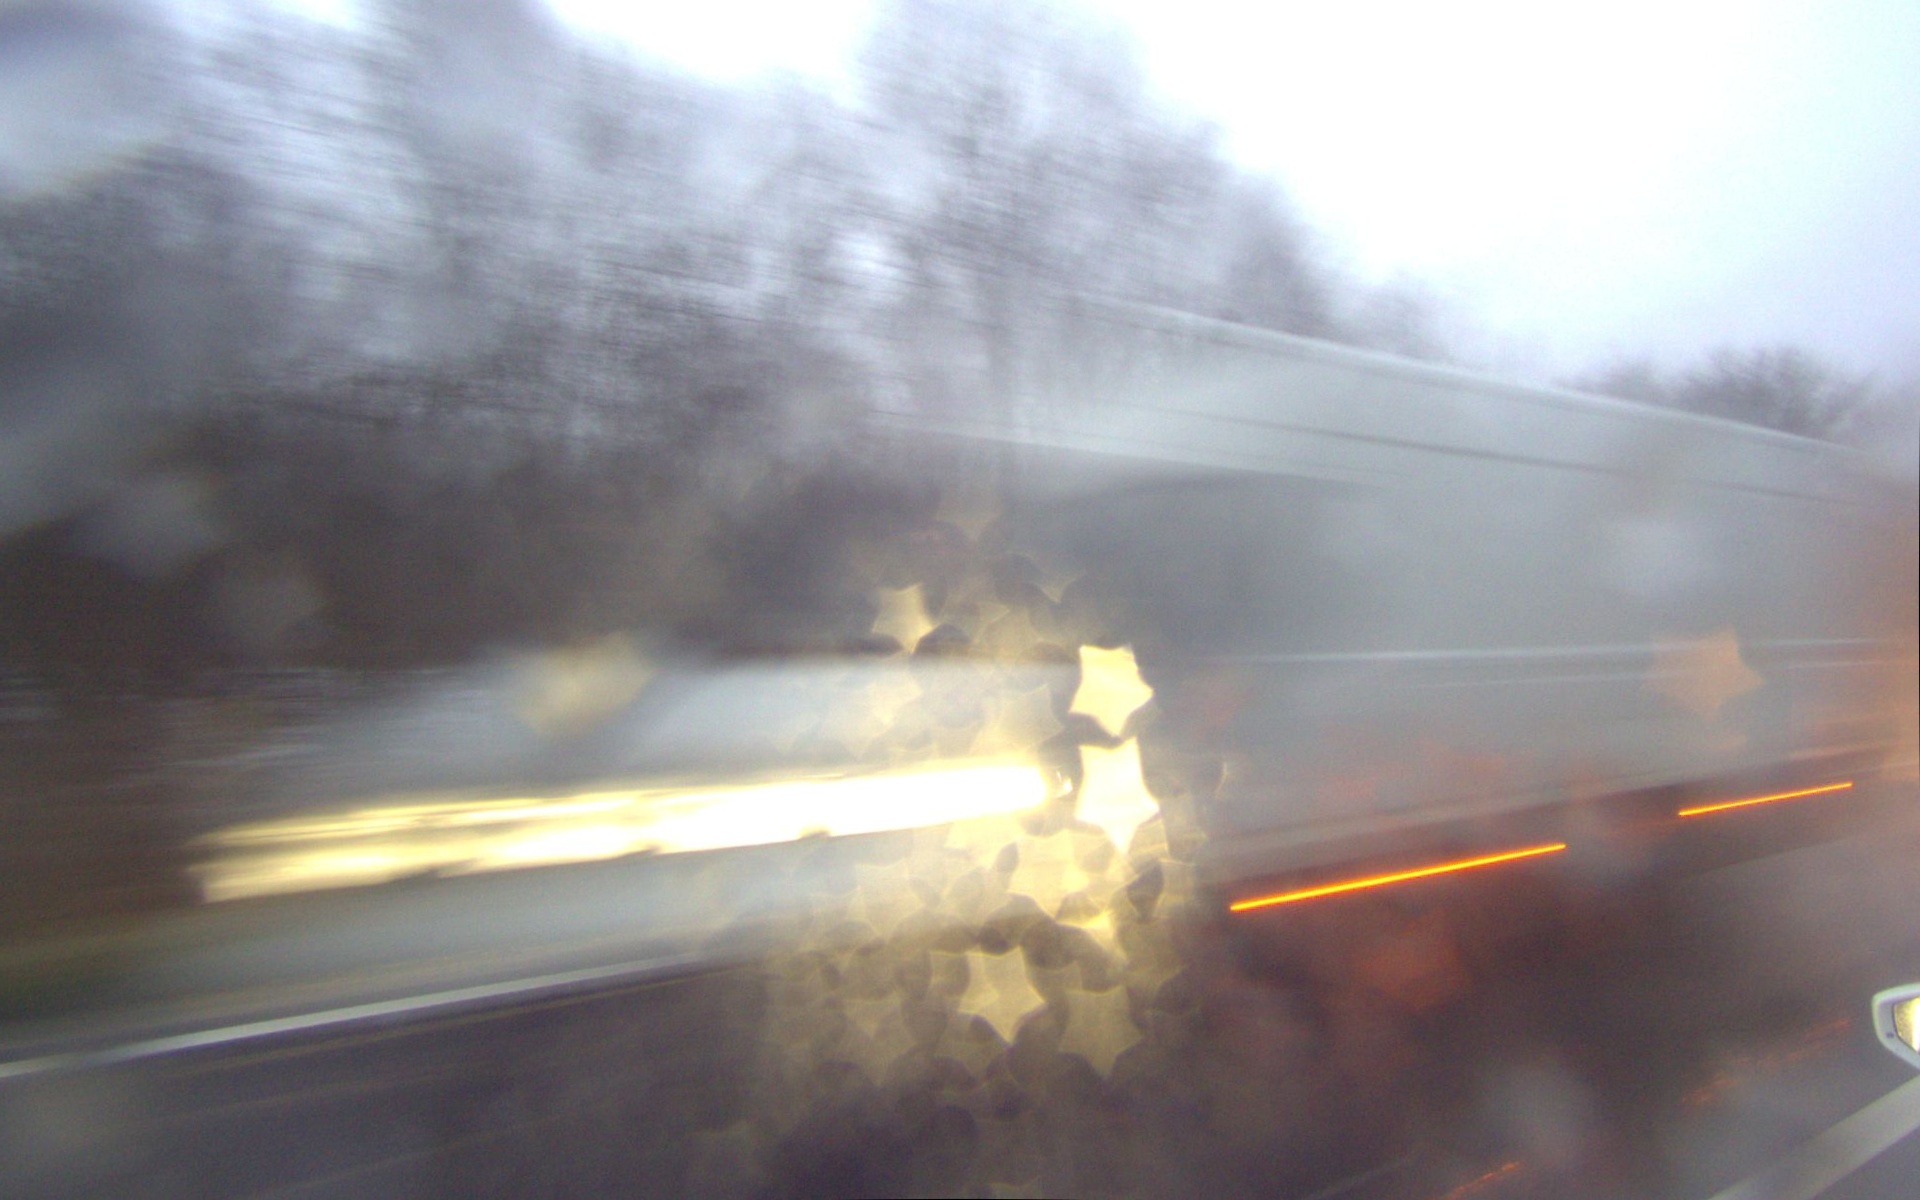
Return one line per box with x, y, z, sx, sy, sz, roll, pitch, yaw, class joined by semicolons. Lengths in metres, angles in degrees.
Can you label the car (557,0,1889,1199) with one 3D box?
1.772;0.114;4.761;6.576;2.848;2.063;2;0;-31;car
